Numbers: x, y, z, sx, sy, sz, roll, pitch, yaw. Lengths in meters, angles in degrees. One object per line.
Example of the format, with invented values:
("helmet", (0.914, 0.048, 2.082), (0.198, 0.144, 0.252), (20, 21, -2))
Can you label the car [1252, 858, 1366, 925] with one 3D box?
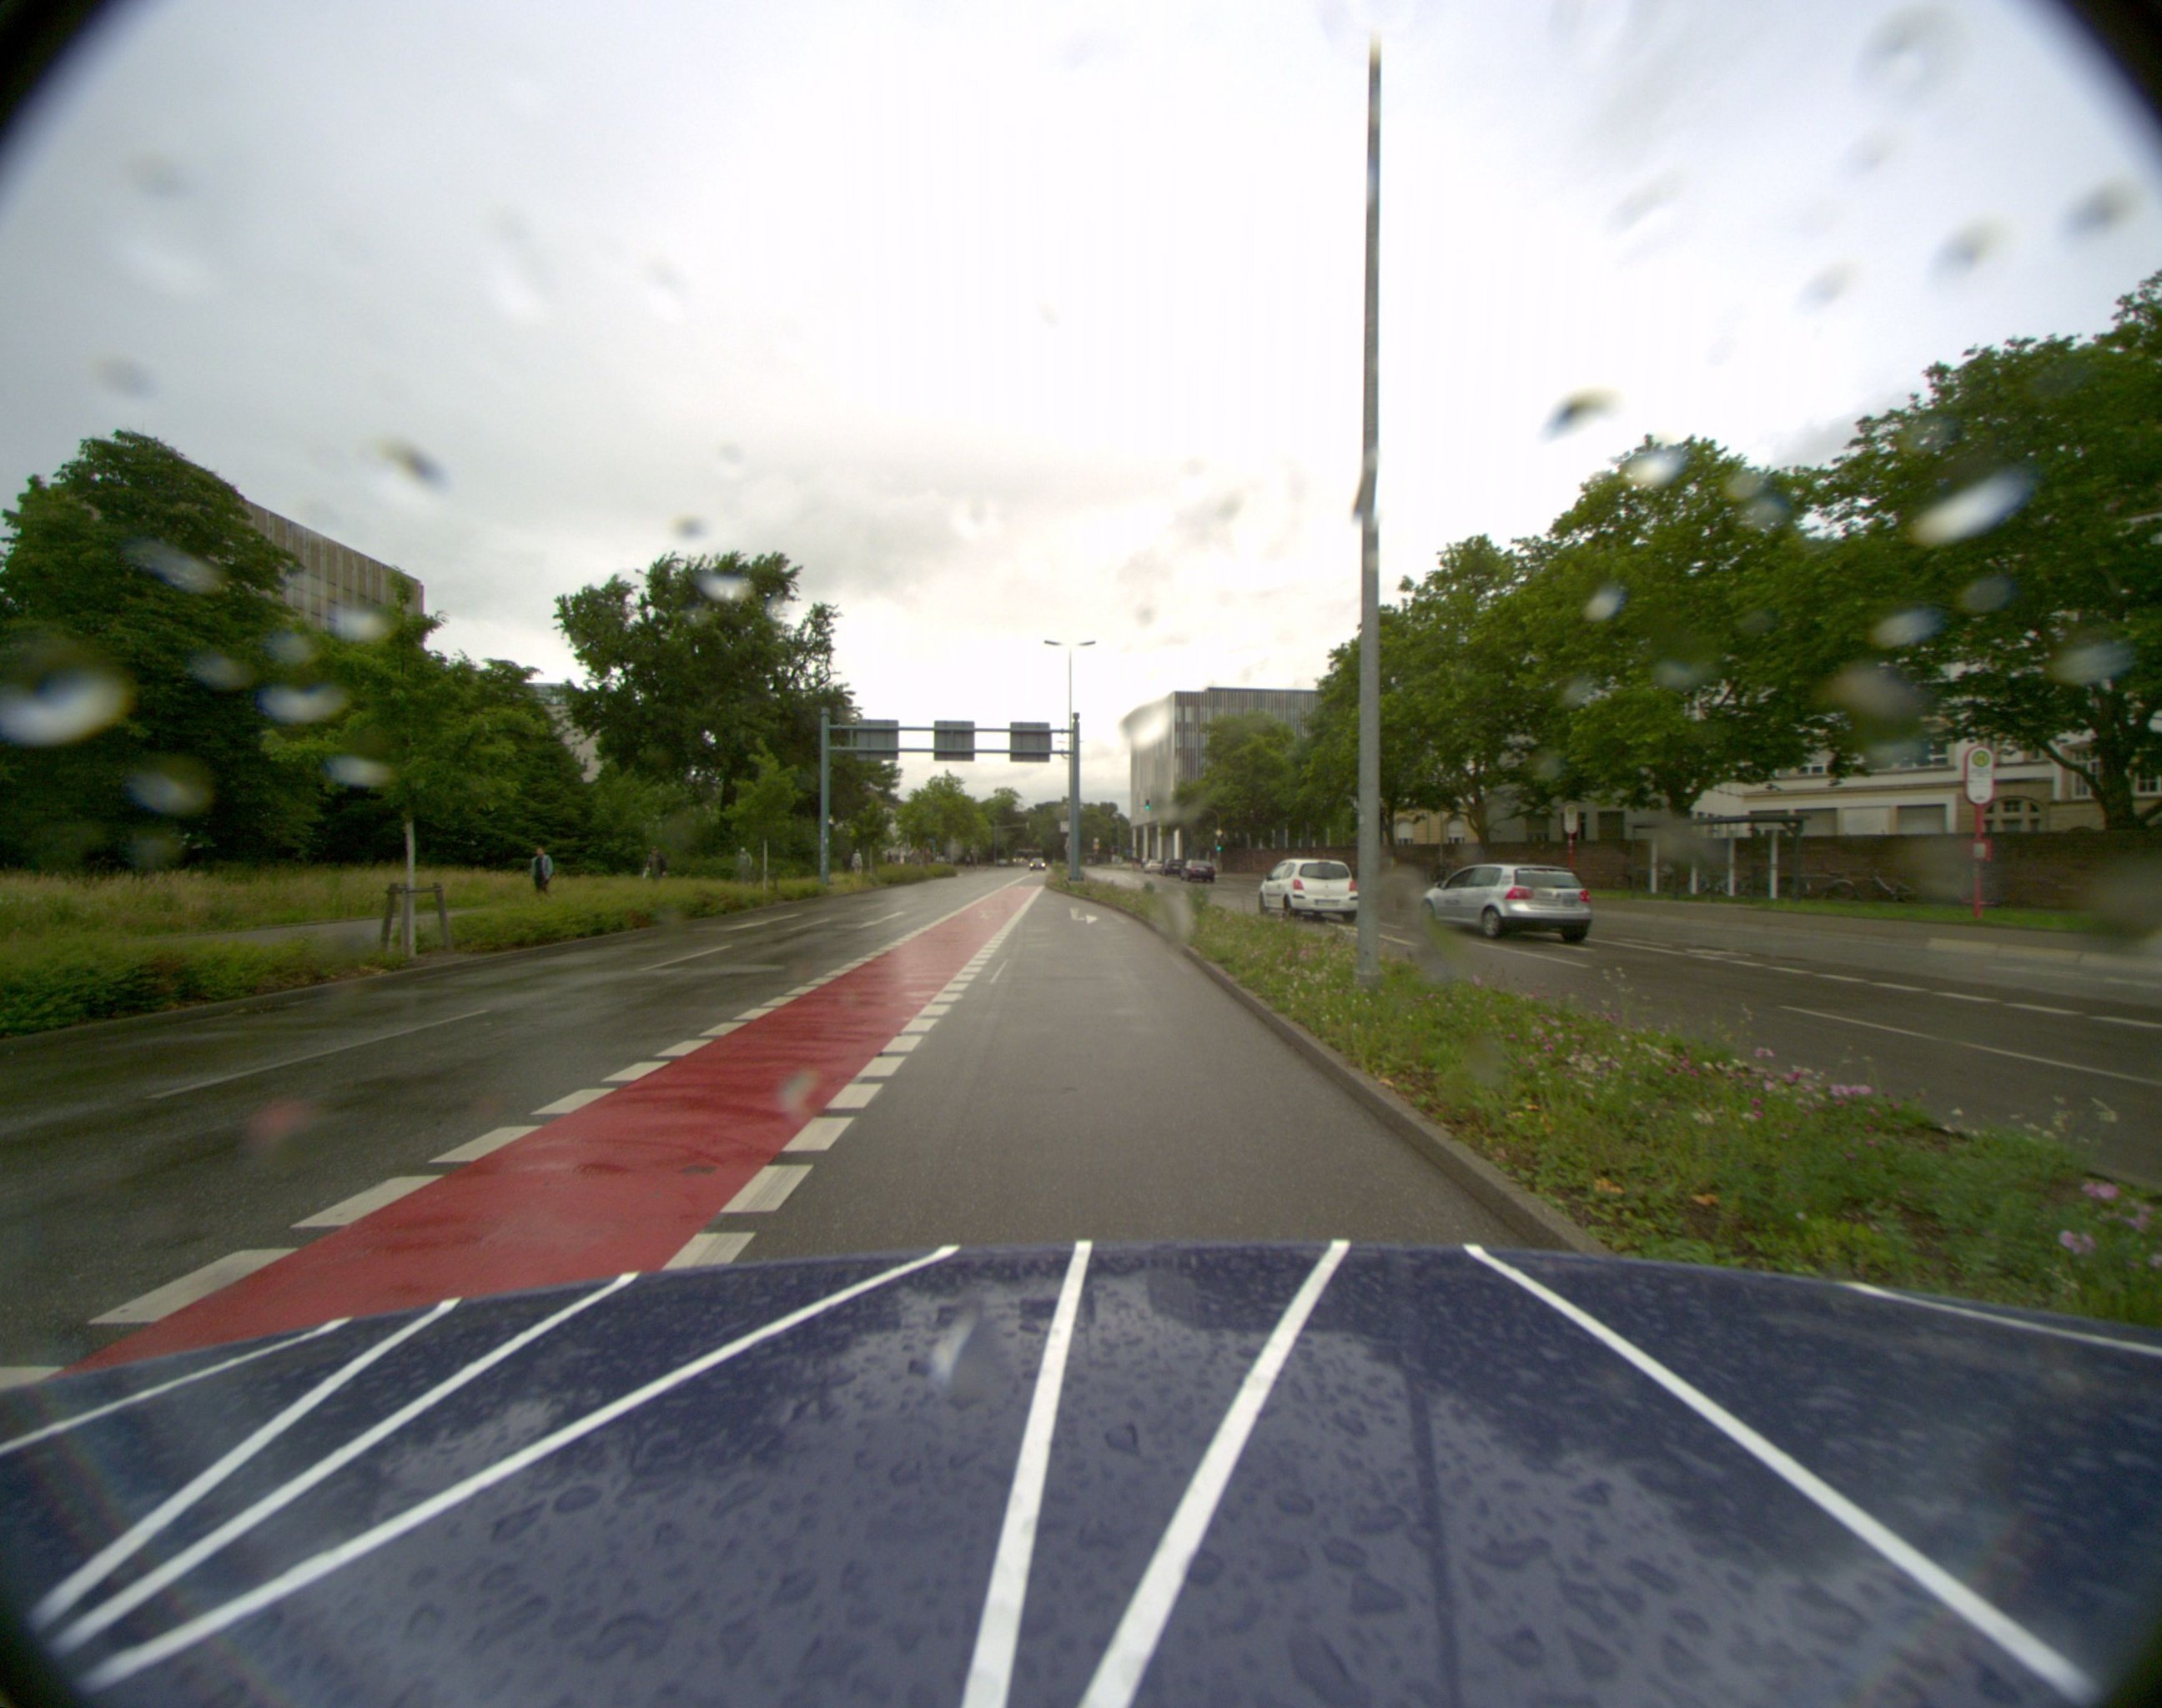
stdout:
("car", (5.646, 0.864, 19.298), (1.683, 1.493, 3.868), (1, 0, 0))

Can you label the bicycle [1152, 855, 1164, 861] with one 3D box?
("bicycle", (14.469, 0.752, 143.316), (2.283, 1.215, 0.599), (0, 0, 7))

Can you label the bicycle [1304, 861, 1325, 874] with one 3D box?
("bicycle", (17.355, 0.994, 56.529), (0.734, 0.977, 1.699), (-1, 0, -13))

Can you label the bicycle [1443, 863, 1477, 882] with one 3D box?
("bicycle", (20.274, 0.969, 40.683), (0.734, 0.977, 1.699), (-1, 0, -13))

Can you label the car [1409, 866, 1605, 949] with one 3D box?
("car", (8.525, 0.992, 15.674), (1.683, 1.396, 4.157), (1, 0, 0))

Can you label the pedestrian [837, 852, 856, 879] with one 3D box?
("pedestrian", (-14.719, 0.739, 47.681), (0.935, 1.693, 0.829), (-1, -2, 3))

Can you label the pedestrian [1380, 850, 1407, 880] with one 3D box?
("pedestrian", (17.740, 0.632, 43.147), (0.871, 1.686, 1.399), (0, 0, -8))

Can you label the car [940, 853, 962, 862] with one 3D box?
("car", (-26.365, 0.644, 154.422), (4.427, 1.862, 1.637), (0, 0, -10))

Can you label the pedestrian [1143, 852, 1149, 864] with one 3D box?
("pedestrian", (9.512, 0.599, 111.070), (0.788, 1.813, 0.623), (0, 0, -25))

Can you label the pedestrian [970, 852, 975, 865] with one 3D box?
("pedestrian", (-15.041, 0.627, 105.009), (0.625, 1.813, 0.786), (0, 0, -16))

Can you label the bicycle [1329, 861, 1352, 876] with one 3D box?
("bicycle", (17.909, 0.989, 52.540), (0.734, 0.977, 1.699), (-1, 0, -13))

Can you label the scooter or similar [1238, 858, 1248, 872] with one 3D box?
("scooter or similar", (14.862, 0.994, 69.824), (0.392, 1.191, 1.141), (-7, 1, -8))

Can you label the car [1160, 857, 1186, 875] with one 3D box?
("car", (7.655, 0.956, 63.556), (1.628, 1.407, 4.065), (1, 0, -1))

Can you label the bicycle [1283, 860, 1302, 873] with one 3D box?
("bicycle", (16.746, 0.998, 60.208), (0.734, 0.977, 1.699), (-1, 0, -13))

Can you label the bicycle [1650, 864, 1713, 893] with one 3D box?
("bicycle", (24.113, 0.958, 30.558), (0.575, 1.129, 1.988), (0, 0, -22))

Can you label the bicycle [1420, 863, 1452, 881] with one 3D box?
("bicycle", (20.098, 0.994, 43.032), (0.734, 0.977, 1.699), (-1, 0, -13))

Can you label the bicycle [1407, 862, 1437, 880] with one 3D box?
("bicycle", (19.885, 0.995, 44.369), (0.734, 0.977, 1.699), (-1, 0, -13))

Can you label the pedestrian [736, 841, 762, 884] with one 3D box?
("pedestrian", (-15.511, 0.400, 35.483), (0.792, 2.002, 0.829), (0, 0, 4))

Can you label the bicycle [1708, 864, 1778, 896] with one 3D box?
("bicycle", (24.927, 0.968, 28.653), (0.575, 1.129, 1.988), (0, 0, -18))

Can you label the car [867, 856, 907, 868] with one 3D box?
("car", (-23.005, 0.969, 90.345), (4.389, 1.330, 1.771), (0, 3, -6))

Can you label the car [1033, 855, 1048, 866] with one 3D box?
("car", (-4.780, 0.756, 89.503), (1.661, 1.356, 4.105), (0, 0, -4))

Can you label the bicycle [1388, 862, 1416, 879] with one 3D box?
("bicycle", (19.427, 0.981, 46.044), (0.734, 0.977, 1.699), (-1, 0, -13))

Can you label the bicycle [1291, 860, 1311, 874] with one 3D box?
("bicycle", (16.842, 0.995, 58.187), (0.734, 0.977, 1.699), (-1, 0, -13))

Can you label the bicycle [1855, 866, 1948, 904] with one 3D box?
("bicycle", (26.554, 0.978, 24.646), (0.575, 1.129, 1.988), (0, 0, -18))

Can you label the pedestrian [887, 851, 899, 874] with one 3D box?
("pedestrian", (-15.368, 0.713, 62.121), (0.731, 1.848, 0.851), (0, 0, 4))

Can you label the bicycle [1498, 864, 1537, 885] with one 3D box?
("bicycle", (21.696, 1.014, 37.803), (0.734, 0.977, 1.699), (-1, 0, -13))

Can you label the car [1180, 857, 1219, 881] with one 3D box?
("car", (8.101, 1.004, 52.171), (1.813, 1.531, 4.702), (1, 0, -1))

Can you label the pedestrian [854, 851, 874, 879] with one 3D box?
("pedestrian", (-13.523, 0.718, 47.417), (0.935, 1.710, 0.829), (-1, -2, 3))

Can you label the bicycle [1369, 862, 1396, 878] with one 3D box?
("bicycle", (18.949, 0.984, 47.729), (0.734, 0.977, 1.699), (-1, 0, -13))

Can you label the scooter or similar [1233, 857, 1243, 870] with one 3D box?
("scooter or similar", (14.820, 0.907, 71.728), (0.392, 1.191, 1.141), (-7, 1, -7))

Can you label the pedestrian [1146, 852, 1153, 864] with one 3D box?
("pedestrian", (9.974, 0.592, 110.064), (0.788, 1.813, 0.623), (0, 0, -25))

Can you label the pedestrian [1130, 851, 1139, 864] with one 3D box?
("pedestrian", (7.822, 0.534, 111.875), (0.941, 1.813, 0.921), (0, 0, -32))

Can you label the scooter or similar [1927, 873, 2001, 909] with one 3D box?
("scooter or similar", (27.047, 1.106, 23.285), (0.574, 1.040, 1.360), (0, 0, -18))

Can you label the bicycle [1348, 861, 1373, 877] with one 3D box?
("bicycle", (18.533, 0.987, 50.463), (0.734, 0.977, 1.699), (-1, 0, -13))

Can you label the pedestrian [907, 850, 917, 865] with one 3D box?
("pedestrian", (-18.706, 0.388, 84.010), (0.879, 1.597, 0.861), (0, 0, -29))

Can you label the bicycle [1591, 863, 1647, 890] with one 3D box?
("bicycle", (23.193, 0.959, 32.789), (0.575, 1.129, 1.988), (0, 0, -22))

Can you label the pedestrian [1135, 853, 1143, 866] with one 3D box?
("pedestrian", (7.880, 0.740, 102.788), (0.788, 1.813, 0.794), (0, 0, -25))

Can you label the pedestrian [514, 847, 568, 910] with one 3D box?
("pedestrian", (-15.574, 0.695, 21.926), (0.935, 1.786, 0.829), (0, 0, 4))

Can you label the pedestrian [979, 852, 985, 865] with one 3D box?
("pedestrian", (-13.795, 0.620, 105.543), (0.625, 1.813, 0.785), (0, 0, -24))

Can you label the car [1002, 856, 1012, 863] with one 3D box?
("car", (-13.803, 1.007, 141.399), (1.661, 1.259, 4.105), (0, 0, -4))

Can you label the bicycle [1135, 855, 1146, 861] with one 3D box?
("bicycle", (12.519, 0.773, 159.079), (2.283, 1.215, 0.599), (0, 0, 7))

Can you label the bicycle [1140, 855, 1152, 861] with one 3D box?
("bicycle", (13.418, 0.772, 156.688), (2.283, 1.215, 0.599), (0, 0, 7))

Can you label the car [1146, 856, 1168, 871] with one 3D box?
("car", (7.594, 0.889, 76.400), (1.600, 1.407, 4.523), (1, 0, -1))

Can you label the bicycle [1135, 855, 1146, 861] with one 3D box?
("bicycle", (12.487, 0.775, 160.190), (2.283, 1.215, 0.599), (0, 0, 7))

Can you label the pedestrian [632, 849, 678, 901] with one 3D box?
("pedestrian", (-14.531, 0.692, 25.916), (0.935, 1.737, 1.046), (0, 0, 4))

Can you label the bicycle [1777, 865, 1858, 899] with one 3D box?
("bicycle", (25.634, 0.955, 26.491), (0.575, 1.129, 1.988), (0, 0, -18))

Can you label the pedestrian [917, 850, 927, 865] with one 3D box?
("pedestrian", (-17.675, 0.386, 84.327), (0.878, 1.597, 0.862), (0, 0, -24))
